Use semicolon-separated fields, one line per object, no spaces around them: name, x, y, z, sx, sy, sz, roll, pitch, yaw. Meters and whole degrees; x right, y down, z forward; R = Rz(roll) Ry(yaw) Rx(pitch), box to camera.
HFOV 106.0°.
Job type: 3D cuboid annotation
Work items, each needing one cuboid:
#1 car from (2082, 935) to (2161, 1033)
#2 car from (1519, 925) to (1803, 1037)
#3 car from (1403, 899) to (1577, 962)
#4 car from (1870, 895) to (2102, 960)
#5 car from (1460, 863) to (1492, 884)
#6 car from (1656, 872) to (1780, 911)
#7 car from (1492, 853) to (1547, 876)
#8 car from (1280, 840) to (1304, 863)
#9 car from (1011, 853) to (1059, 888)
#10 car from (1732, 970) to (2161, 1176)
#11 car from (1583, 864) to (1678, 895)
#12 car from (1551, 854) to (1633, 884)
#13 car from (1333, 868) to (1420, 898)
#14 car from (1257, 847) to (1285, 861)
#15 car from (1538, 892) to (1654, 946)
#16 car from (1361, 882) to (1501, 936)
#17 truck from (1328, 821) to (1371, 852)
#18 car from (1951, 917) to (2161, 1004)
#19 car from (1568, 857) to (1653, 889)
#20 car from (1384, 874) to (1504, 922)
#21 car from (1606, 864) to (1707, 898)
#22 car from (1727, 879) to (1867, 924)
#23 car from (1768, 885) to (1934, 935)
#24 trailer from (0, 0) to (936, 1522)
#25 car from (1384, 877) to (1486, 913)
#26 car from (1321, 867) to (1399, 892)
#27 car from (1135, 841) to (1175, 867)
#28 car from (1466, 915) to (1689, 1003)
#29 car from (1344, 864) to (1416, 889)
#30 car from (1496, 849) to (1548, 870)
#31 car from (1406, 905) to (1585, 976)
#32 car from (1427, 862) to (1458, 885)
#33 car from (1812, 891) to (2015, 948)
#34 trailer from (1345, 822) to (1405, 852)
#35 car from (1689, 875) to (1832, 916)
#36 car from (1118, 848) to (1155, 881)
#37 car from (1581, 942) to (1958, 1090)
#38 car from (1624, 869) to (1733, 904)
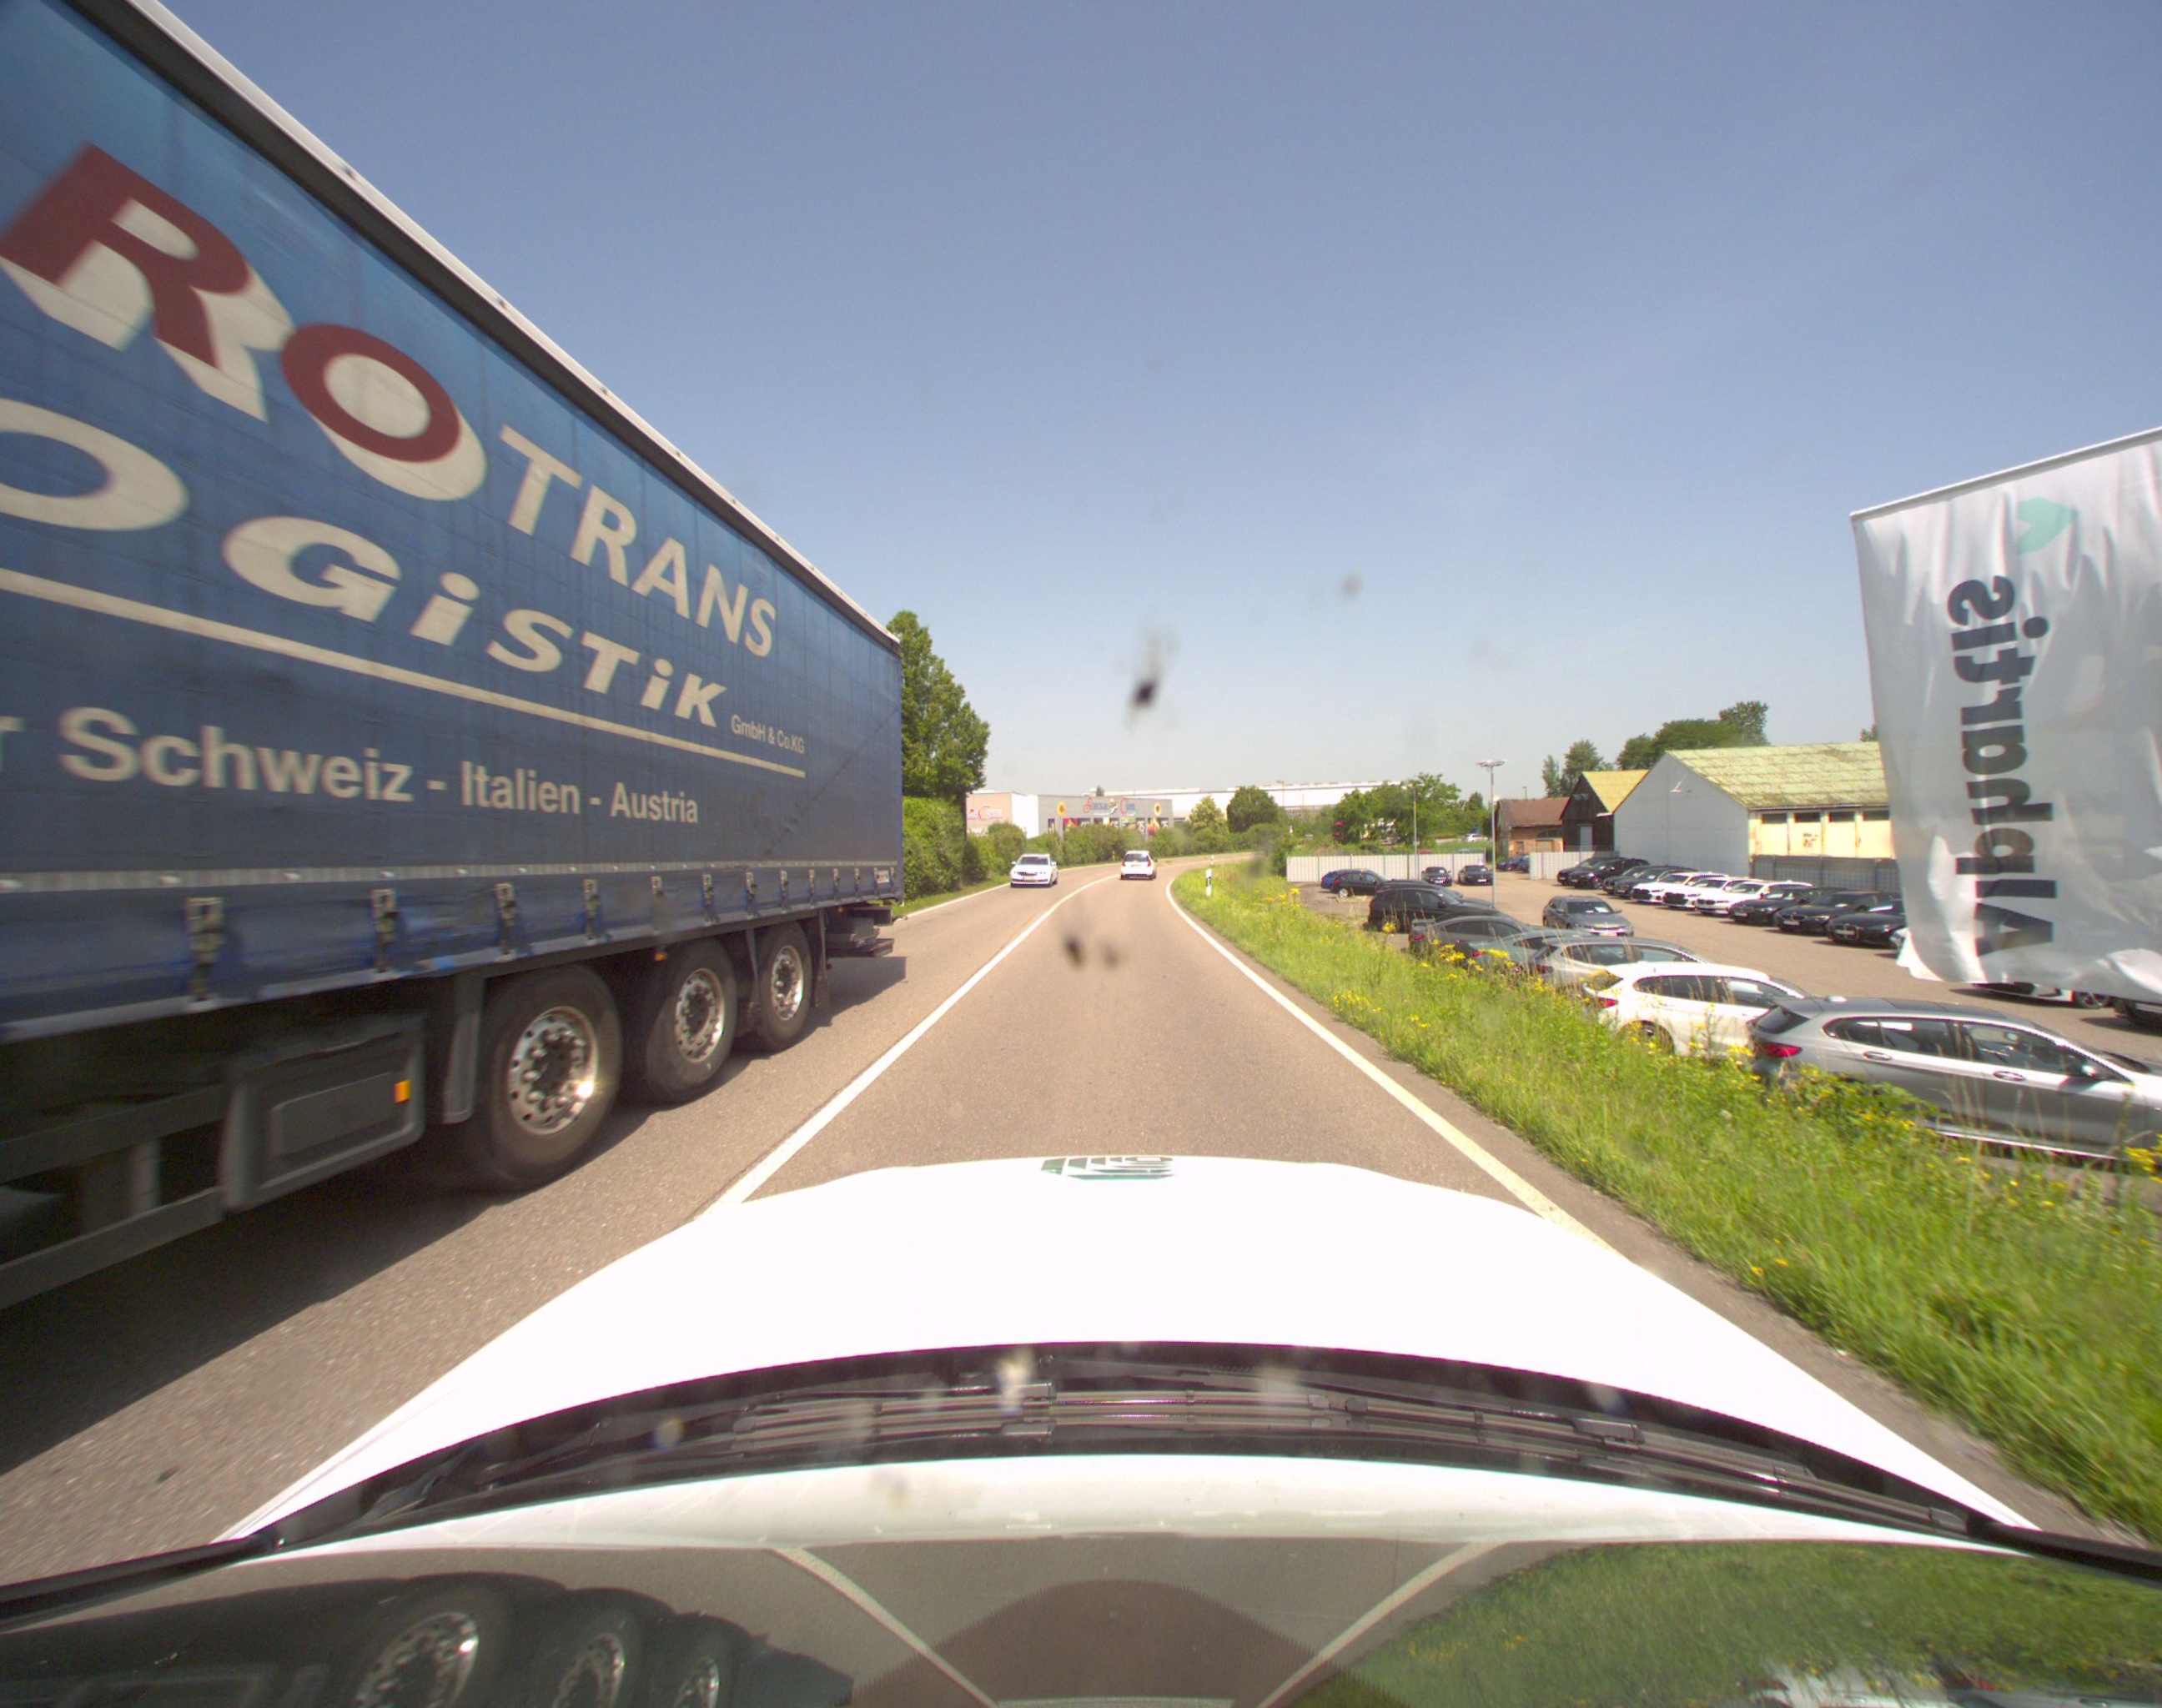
car;20.375;2.214;13.796;4.409;1.523;1.933;-1;0;1
car;10.582;2.255;15.276;4.119;1.523;1.868;0;0;29
car;12.430;2.262;24.847;4.583;1.523;1.868;0;0;33
car;25.032;1.992;22.618;4.596;1.523;1.929;-1;0;-5
car;28.274;1.333;58.192;1.975;1.398;4.024;0;0;27
car;29.260;1.698;37.462;4.598;1.523;1.906;-1;1;-10
car;35.433;0.835;65.927;3.707;1.750;1.682;0;0;18
car;18.866;-0.225;72.628;1.979;2.013;4.016;0;0;15
car;-2.013;0.696;36.808;1.822;1.470;4.410;0;0;1
car;10.003;2.332;9.122;4.118;1.523;1.701;0;0;35
car;30.925;1.407;45.880;4.323;1.576;1.906;-1;1;-10
car;33.346;0.954;53.170;4.323;1.804;1.993;-1;1;-10
car;17.345;1.650;47.863;4.584;1.605;1.868;0;1;30
car;21.016;-0.006;89.945;1.811;1.470;4.437;0;0;29
car;17.555;2.173;28.049;2.119;1.457;4.550;0;0;15
car;13.224;2.032;30.909;4.583;1.700;1.869;0;2;35
truck;36.535;-2.306;110.684;2.855;4.030;6.761;0;0;44
car;21.259;2.152;16.753;4.402;1.523;1.936;-1;0;6
car;32.856;1.137;50.559;4.323;1.804;1.906;-1;1;-10
car;15.067;1.770;33.869;4.181;1.700;1.931;0;2;38
car;30.511;1.419;43.240;4.323;1.576;1.906;-1;1;-10
car;27.353;1.784;31.172;3.990;1.523;1.756;-1;0;-5
car;26.746;1.931;28.374;4.305;1.523;1.794;-1;0;-5
trailer;-3.671;-0.619;3.395;2.658;4.241;14.579;0;0;3
car;16.836;1.918;38.820;4.097;1.493;1.843;0;1;38
car;18.499;1.663;54.017;4.583;1.498;1.868;0;2;33
car;5.994;-0.024;65.535;1.975;2.013;4.023;0;0;25
car;11.068;2.270;18.419;4.119;1.523;1.868;0;0;30
car;20.726;1.514;56.486;4.319;1.502;1.853;0;2;45
car;37.767;0.477;69.864;3.706;1.750;1.682;0;0;21
car;11.074;2.237;21.855;4.119;1.523;1.868;0;0;30
car;26.191;1.380;58.958;1.833;1.534;4.671;0;0;27
car;25.870;2.003;25.395;4.596;1.523;1.929;-1;0;-5
trailer;41.039;-2.352;113.605;8.721;4.030;2.861;0;0;-30
car;28.663;1.719;34.448;4.638;1.523;1.908;-1;0;-5
car;3.016;0.532;45.093;1.775;1.603;3.895;3;1;1
car;10.023;2.297;12.342;4.119;1.523;1.762;0;0;30
car;29.527;1.579;40.314;4.323;1.523;1.906;-1;1;-10
